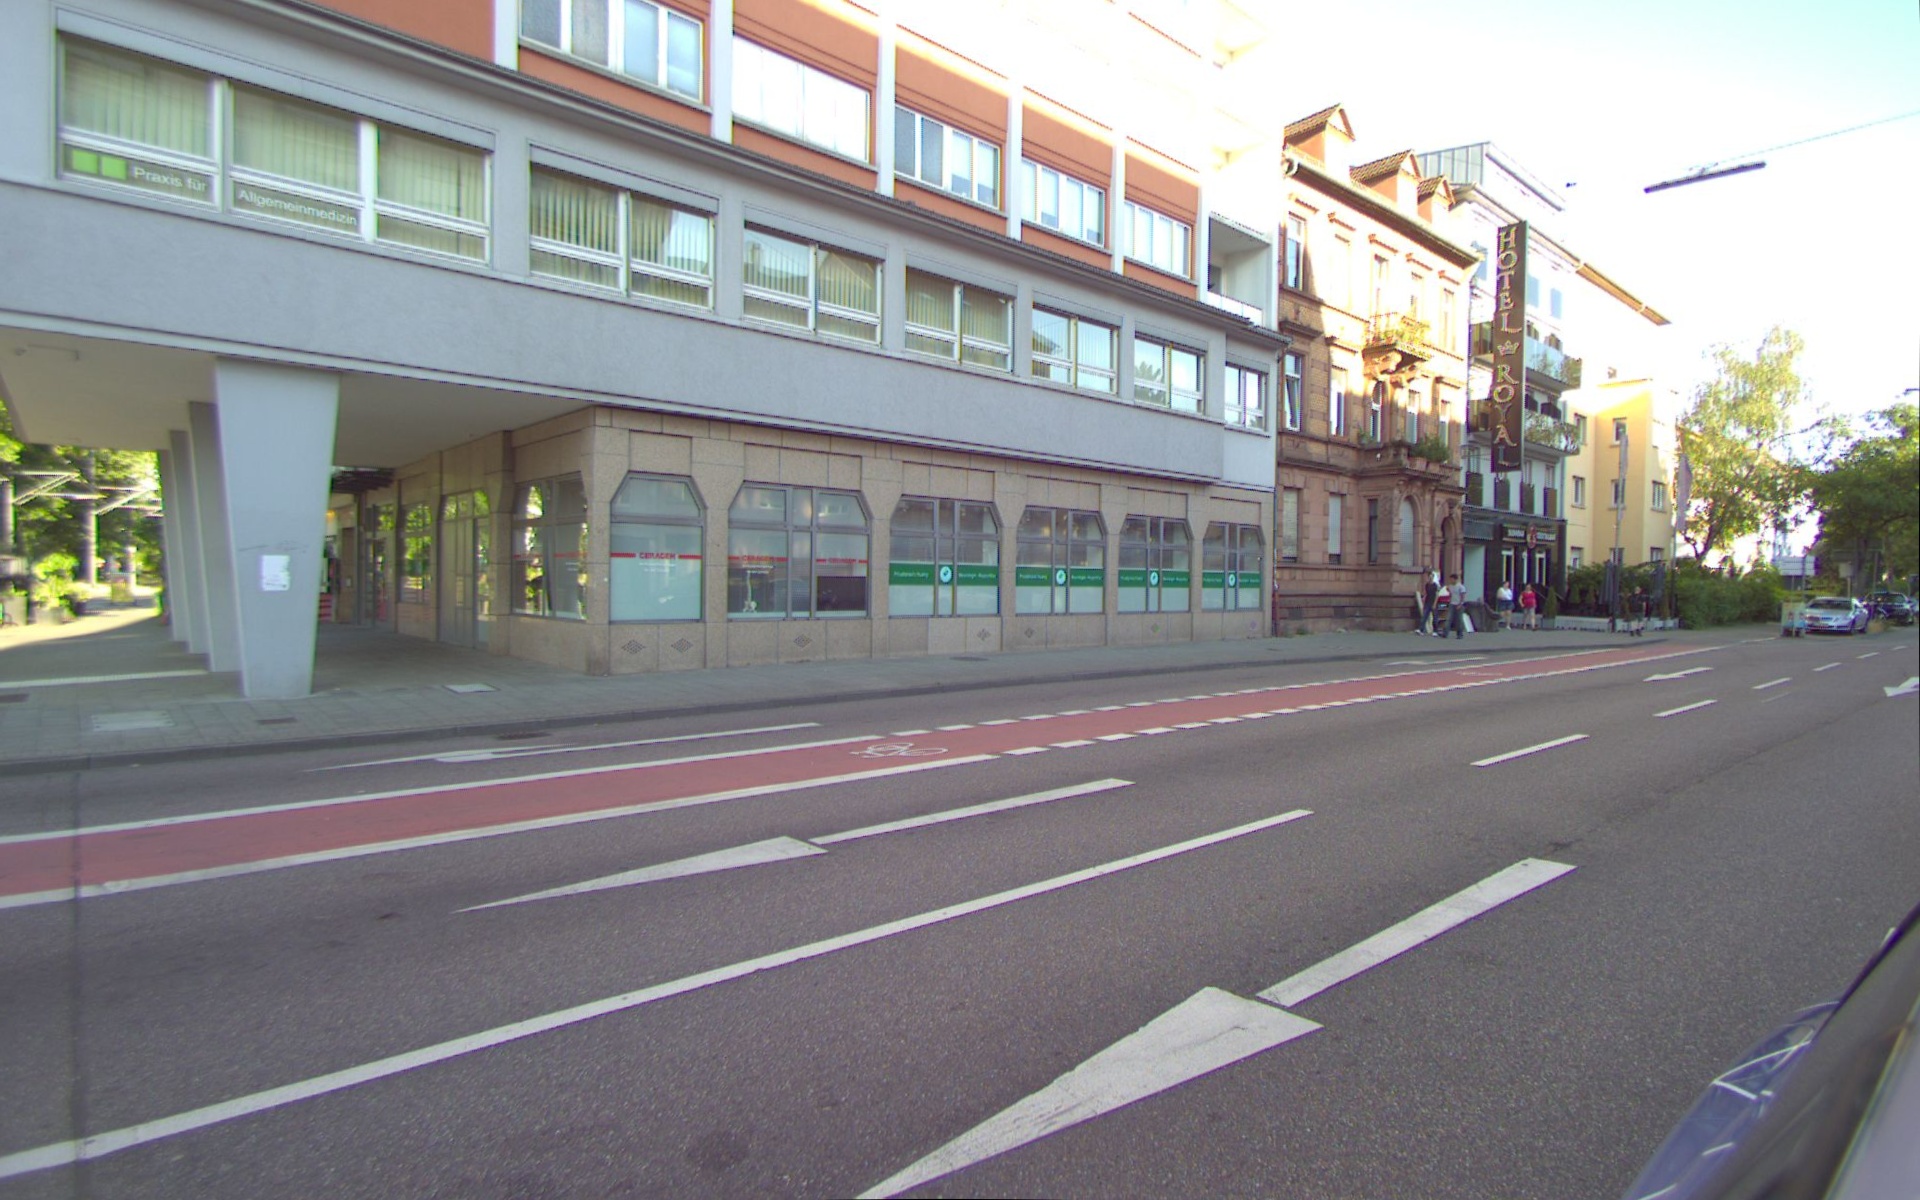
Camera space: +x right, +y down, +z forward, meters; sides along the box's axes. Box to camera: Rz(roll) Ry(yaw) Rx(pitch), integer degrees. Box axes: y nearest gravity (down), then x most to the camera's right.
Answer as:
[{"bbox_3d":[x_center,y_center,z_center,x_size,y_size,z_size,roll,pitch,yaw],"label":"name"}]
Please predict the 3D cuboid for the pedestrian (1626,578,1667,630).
[{"bbox_3d":[22.621,0.127,33.337,0.992,1.621,0.739,0,4,-37],"label":"pedestrian"}]

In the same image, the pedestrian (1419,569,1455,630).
[{"bbox_3d":[14.028,-0.013,29.740,0.666,1.747,0.995,2,1,43],"label":"pedestrian"}]

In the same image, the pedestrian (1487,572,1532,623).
[{"bbox_3d":[18.763,-0.094,34.585,0.771,1.606,1.013,3,4,-7],"label":"pedestrian"}]

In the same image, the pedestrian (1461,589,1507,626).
[{"bbox_3d":[16.927,0.225,32.693,0.909,1.150,1.099,0,1,-43],"label":"pedestrian"}]

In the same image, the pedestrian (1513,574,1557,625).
[{"bbox_3d":[19.557,-0.018,34.445,0.724,1.606,1.013,3,4,-6],"label":"pedestrian"}]

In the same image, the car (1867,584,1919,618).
[{"bbox_3d":[47.565,0.014,51.276,4.121,1.645,1.946,0,1,-41],"label":"car"}]

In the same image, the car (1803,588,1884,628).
[{"bbox_3d":[35.872,0.285,41.066,4.003,1.536,1.905,0,1,-41],"label":"car"}]

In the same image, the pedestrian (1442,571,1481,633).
[{"bbox_3d":[14.456,0.055,29.171,0.994,1.747,0.667,0,1,-42],"label":"pedestrian"}]
